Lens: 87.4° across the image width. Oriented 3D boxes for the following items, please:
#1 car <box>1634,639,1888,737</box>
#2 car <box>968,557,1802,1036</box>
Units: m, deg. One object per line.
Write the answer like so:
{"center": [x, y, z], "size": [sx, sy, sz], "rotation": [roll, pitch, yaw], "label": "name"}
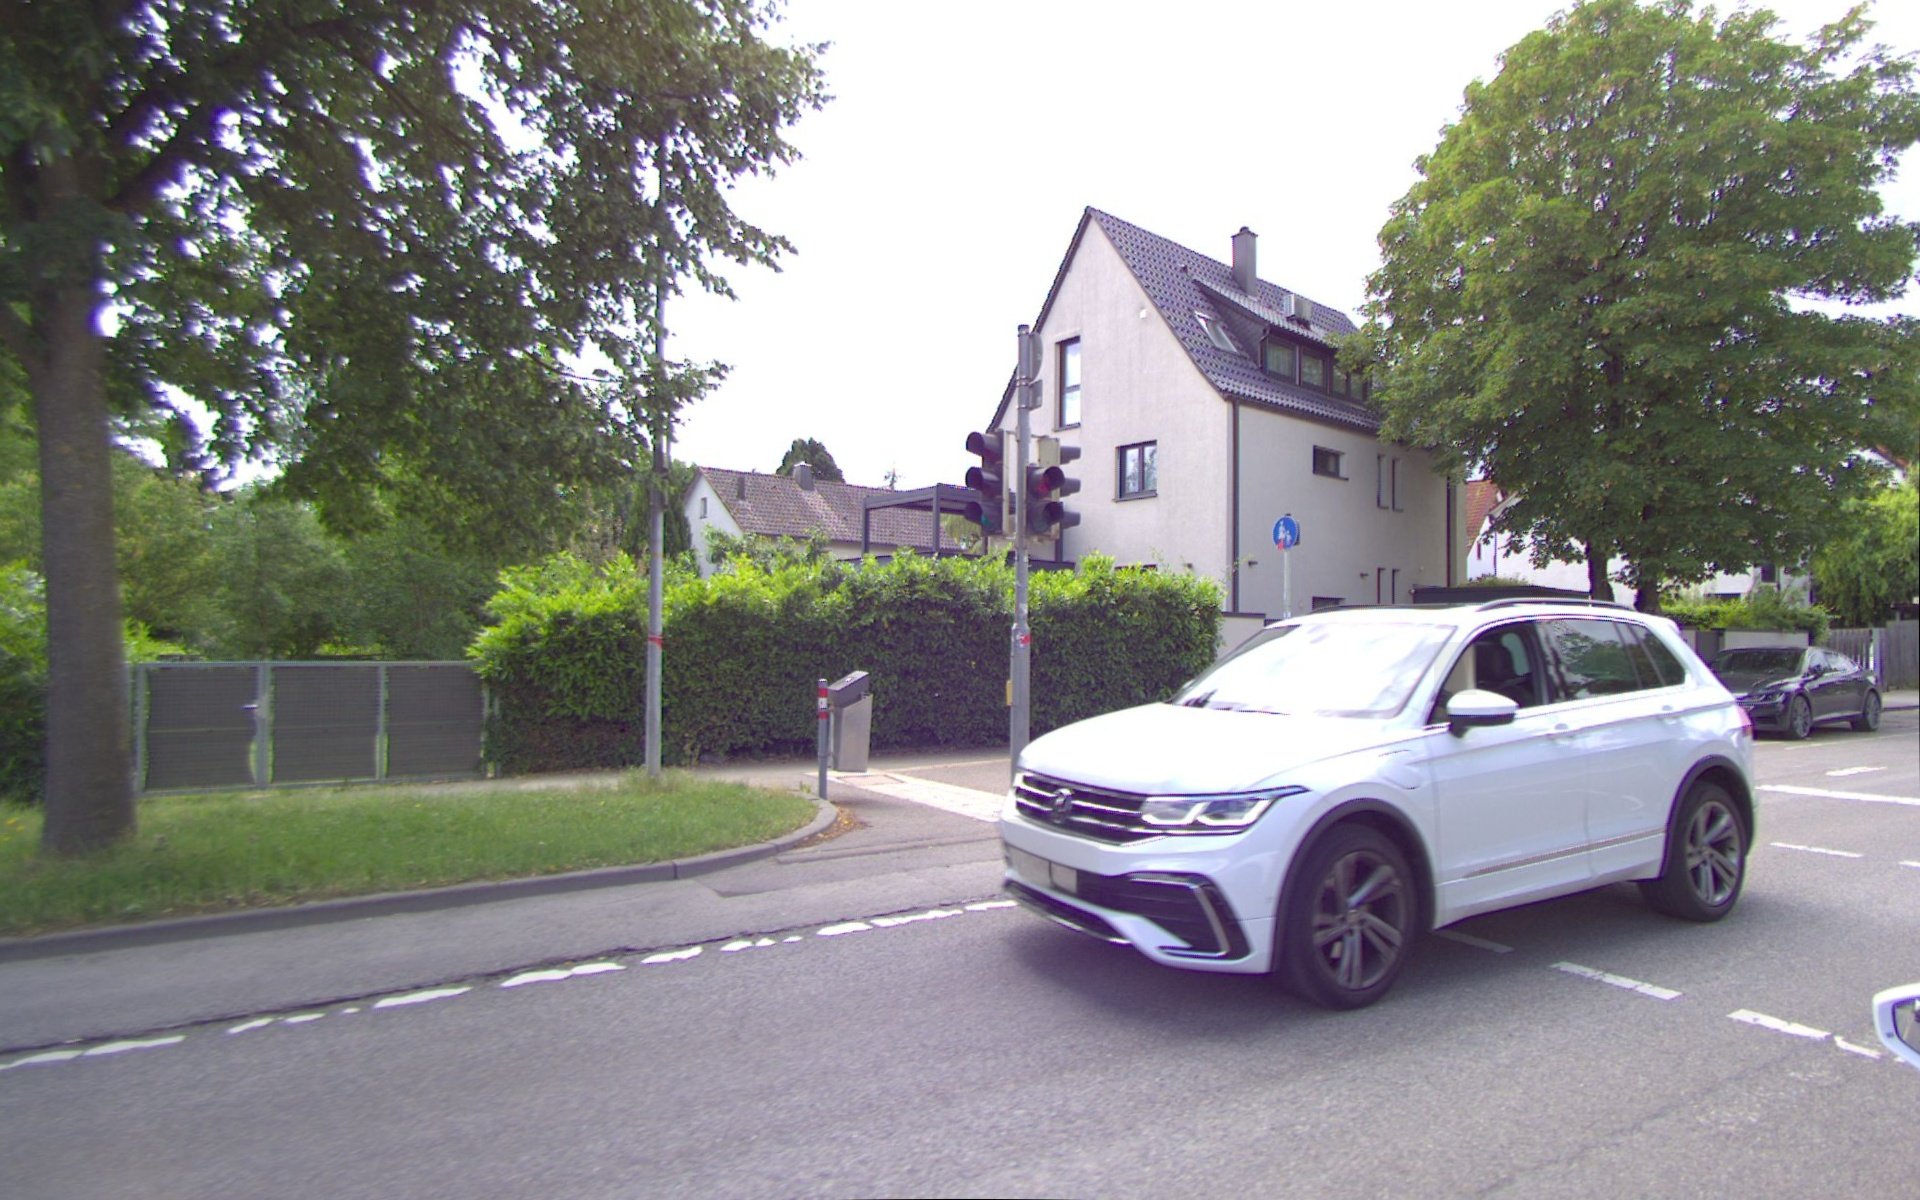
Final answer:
{"center": [13.199, 1.359, 16.479], "size": [4.746, 1.413, 1.710], "rotation": [2, -3, -31], "label": "car"}
{"center": [2.351, 0.767, 5.370], "size": [4.287, 1.656, 1.867], "rotation": [1, -3, -29], "label": "car"}
